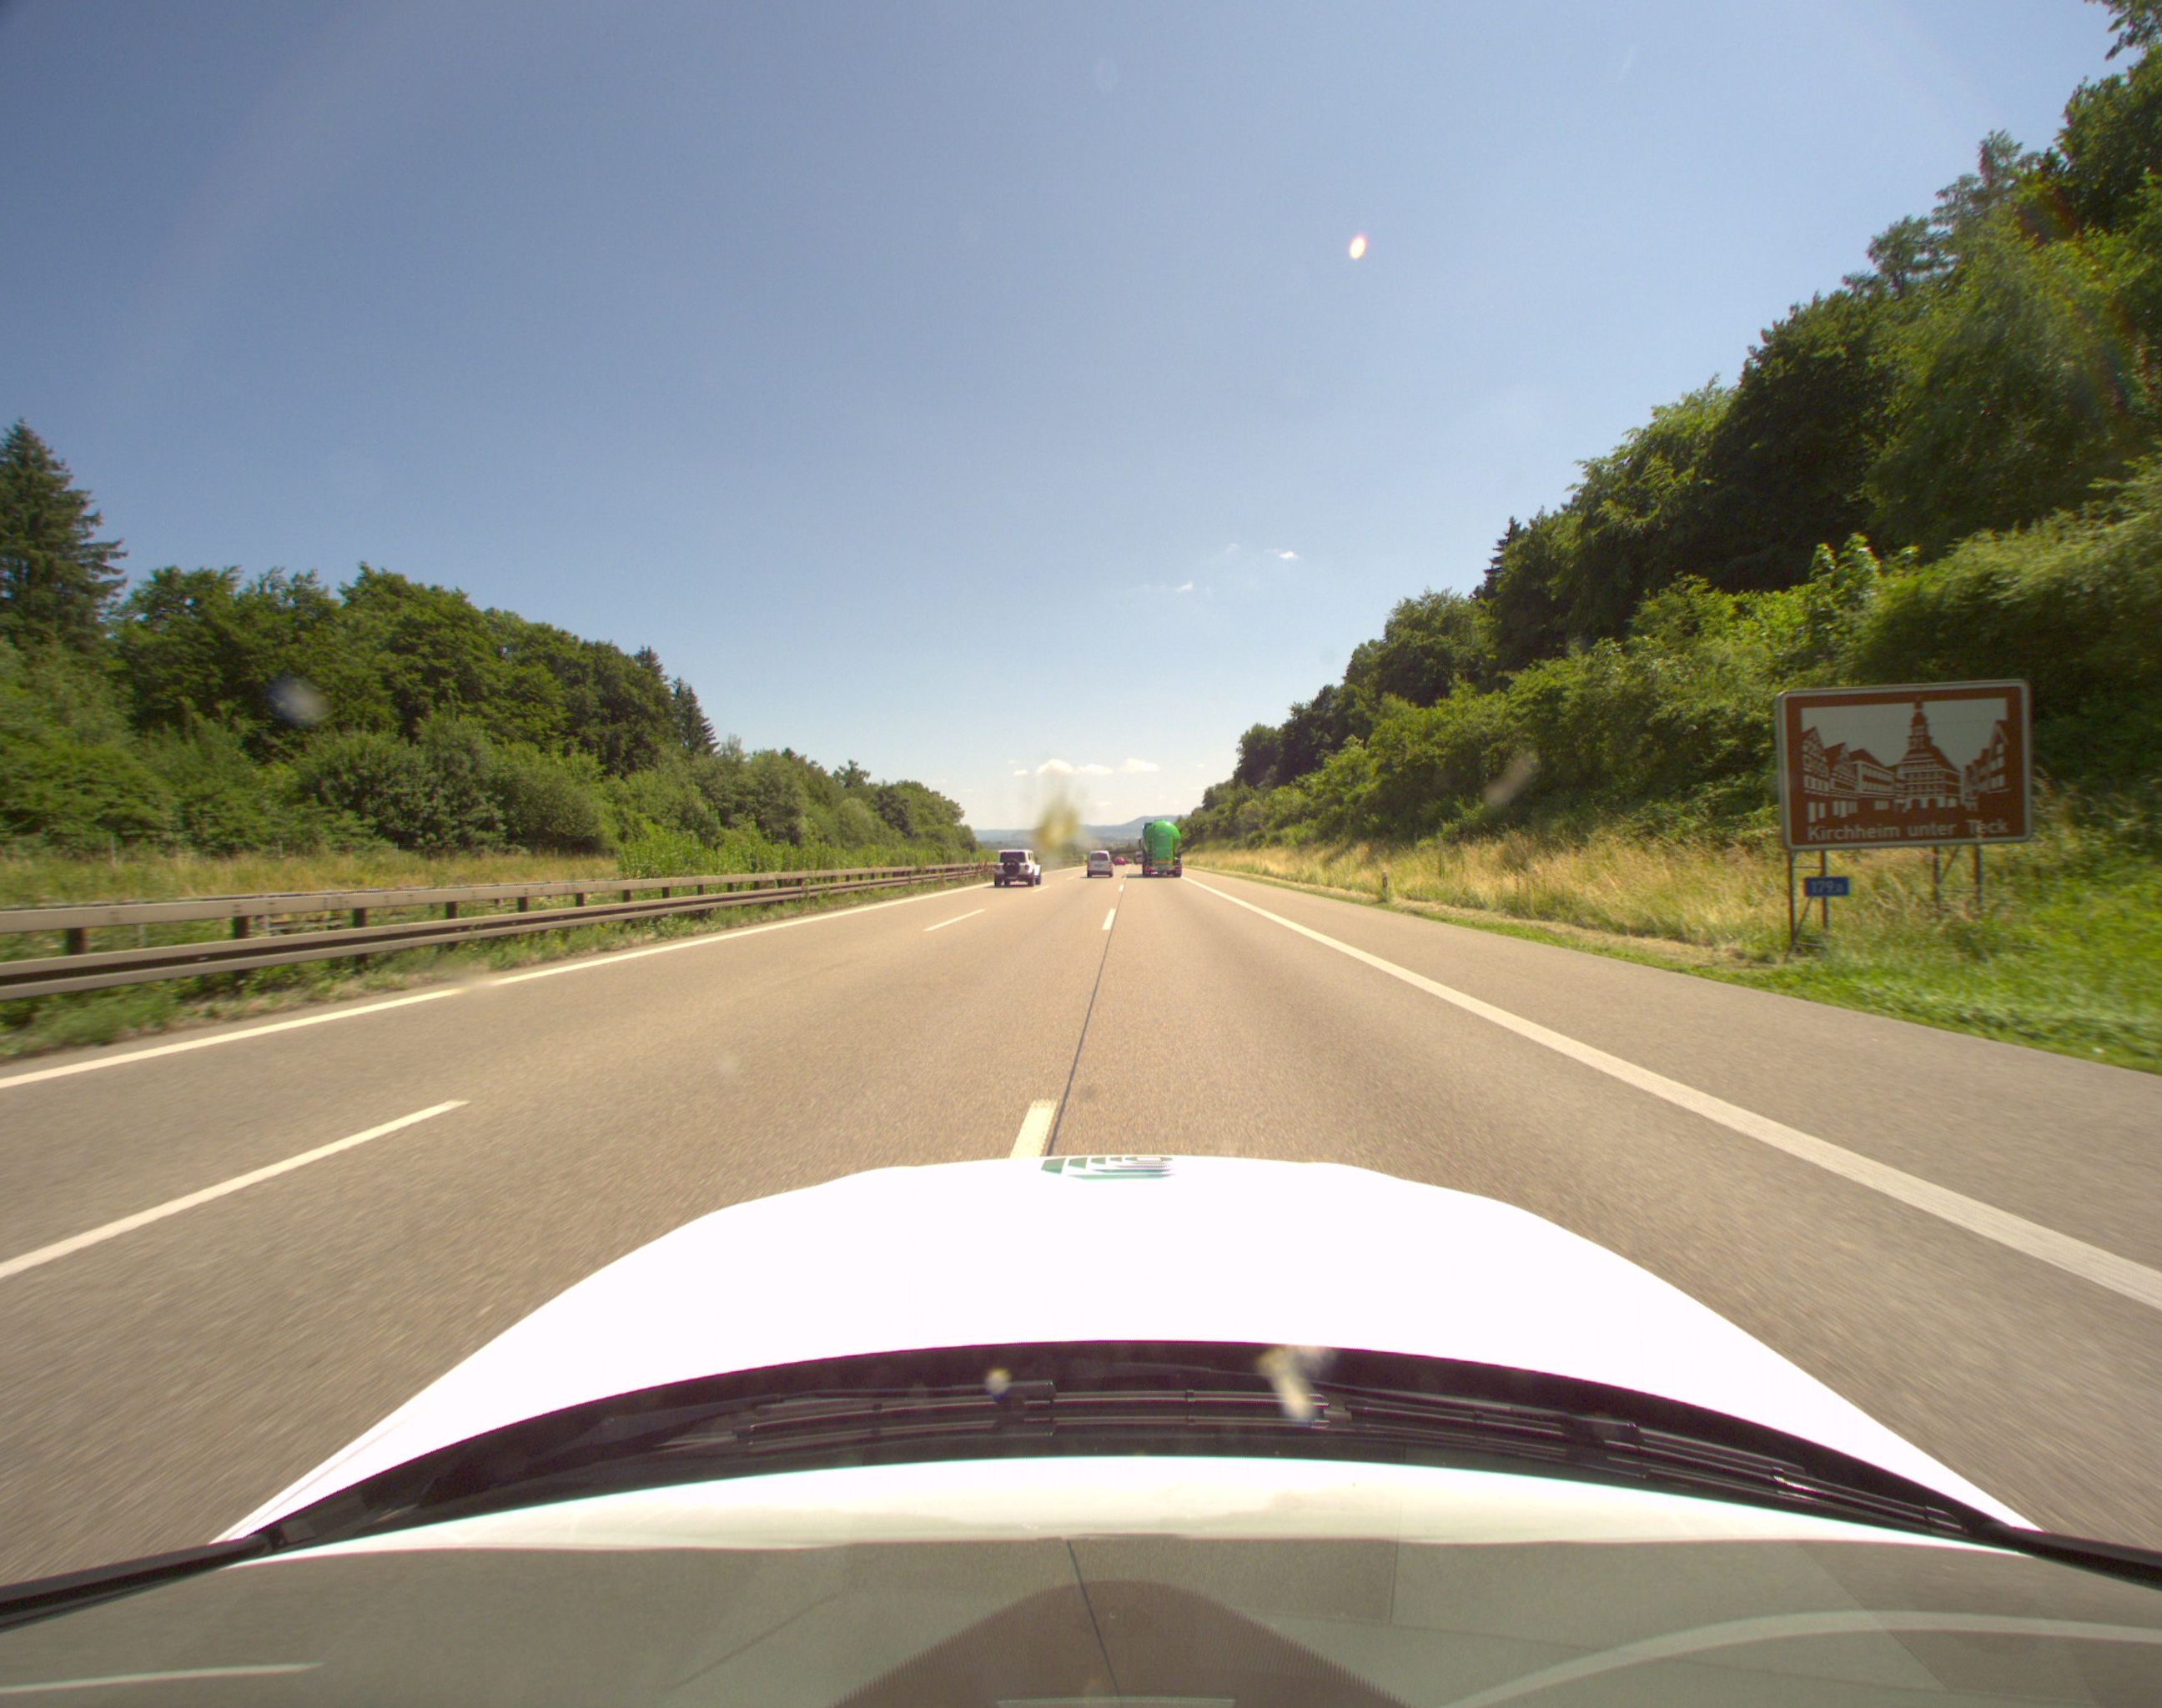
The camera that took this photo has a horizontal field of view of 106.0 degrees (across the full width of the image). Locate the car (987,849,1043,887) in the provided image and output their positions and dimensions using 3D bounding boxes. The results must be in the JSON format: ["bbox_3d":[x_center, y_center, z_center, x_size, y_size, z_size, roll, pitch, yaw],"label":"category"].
[{"bbox_3d":[-3.290,0.687,41.509,2.073,1.829,4.760,0,0,5],"label":"car"}]

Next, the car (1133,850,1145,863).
[{"bbox_3d":[11.261,0.499,157.903,2.080,2.576,6.630,0,0,5],"label":"car"}]

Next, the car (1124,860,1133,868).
[{"bbox_3d":[10.905,2.216,185.872,1.772,1.882,4.007,0,0,7],"label":"car"}]

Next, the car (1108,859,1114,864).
[{"bbox_3d":[7.783,1.928,213.149,1.395,1.396,3.216,0,0,4],"label":"car"}]

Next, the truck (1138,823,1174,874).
[{"bbox_3d":[5.883,-0.406,64.403,2.500,3.842,4.895,0,0,2],"label":"truck"}]

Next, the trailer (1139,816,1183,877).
[{"bbox_3d":[5.654,-0.511,59.152,2.577,4.028,10.476,0,0,2],"label":"trailer"}]

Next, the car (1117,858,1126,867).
[{"bbox_3d":[7.022,1.418,140.963,1.438,1.550,3.362,0,0,6],"label":"car"}]

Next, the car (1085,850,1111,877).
[{"bbox_3d":[1.255,0.659,57.733,1.739,1.829,4.803,0,0,2],"label":"car"}]
